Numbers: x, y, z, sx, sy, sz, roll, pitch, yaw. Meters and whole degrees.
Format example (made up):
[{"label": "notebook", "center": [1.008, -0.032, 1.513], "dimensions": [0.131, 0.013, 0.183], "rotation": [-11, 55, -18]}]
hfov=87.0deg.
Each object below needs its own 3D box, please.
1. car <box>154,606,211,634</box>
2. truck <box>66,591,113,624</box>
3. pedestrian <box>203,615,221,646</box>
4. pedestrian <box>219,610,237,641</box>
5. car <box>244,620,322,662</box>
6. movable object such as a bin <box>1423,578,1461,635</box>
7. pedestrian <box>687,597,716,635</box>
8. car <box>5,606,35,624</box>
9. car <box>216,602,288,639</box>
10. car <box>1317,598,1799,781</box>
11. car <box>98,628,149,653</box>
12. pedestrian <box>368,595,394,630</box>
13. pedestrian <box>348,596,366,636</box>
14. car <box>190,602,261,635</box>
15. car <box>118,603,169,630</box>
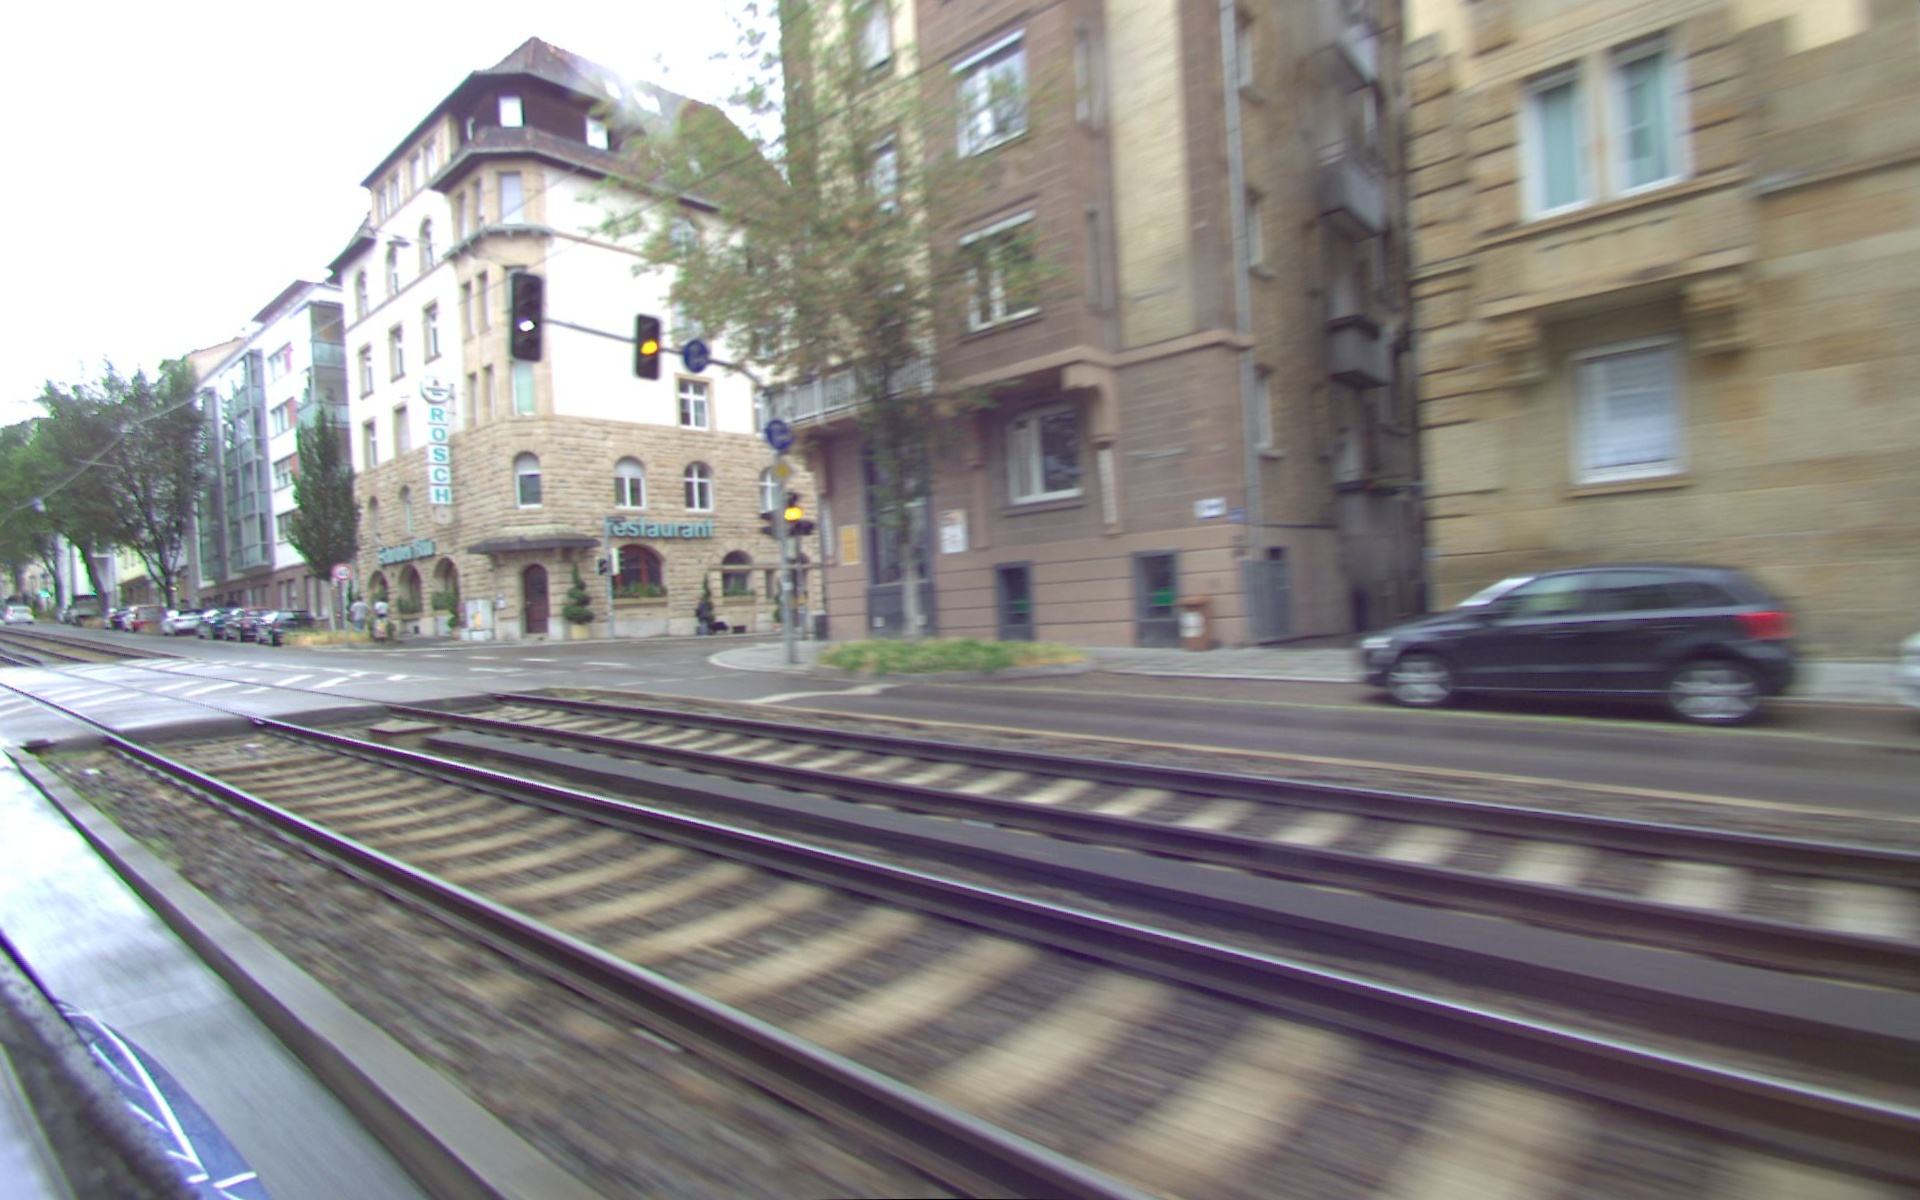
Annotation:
[{"label": "car", "center": [-41.575, 1.066, 54.118], "dimensions": [4.130, 1.345, 1.684], "rotation": [-1, 3, 43]}, {"label": "truck", "center": [-65.600, 0.522, 76.242], "dimensions": [6.355, 2.363, 2.167], "rotation": [0, 1, 44]}, {"label": "pedestrian", "center": [-43.570, 1.779, 58.960], "dimensions": [0.782, 1.785, 0.666], "rotation": [-1, 0, 43]}, {"label": "pedestrian", "center": [-43.071, 1.512, 59.531], "dimensions": [0.782, 1.785, 0.666], "rotation": [-1, 0, 43]}, {"label": "car", "center": [-27.857, 1.658, 41.583], "dimensions": [3.894, 1.564, 1.746], "rotation": [-2, 0, 42]}, {"label": "movable object such as a bin", "center": [11.458, 0.155, 24.044], "dimensions": [0.628, 1.306, 0.722], "rotation": [-2, 0, 40]}, {"label": "pedestrian", "center": [-9.852, 0.592, 38.507], "dimensions": [0.807, 1.426, 0.721], "rotation": [-1, 0, -45]}, {"label": "car", "center": [-79.170, 1.264, 85.236], "dimensions": [3.581, 1.493, 1.609], "rotation": [-1, 0, 43]}, {"label": "car", "center": [-31.464, 0.935, 44.949], "dimensions": [3.524, 1.509, 1.788], "rotation": [-2, 1, 41]}, {"label": "car", "center": [6.001, 0.774, 10.454], "dimensions": [4.000, 1.497, 1.746], "rotation": [-1, 0, 43]}, {"label": "car", "center": [-55.140, 2.640, 66.666], "dimensions": [4.467, 1.451, 1.886], "rotation": [-1, 0, 42]}, {"label": "pedestrian", "center": [-23.971, 0.529, 41.896], "dimensions": [0.645, 1.432, 0.746], "rotation": [-2, 0, 43]}, {"label": "pedestrian", "center": [-24.596, 0.644, 41.285], "dimensions": [0.644, 1.582, 0.511], "rotation": [-1, 0, 45]}, {"label": "car", "center": [-34.867, 0.872, 48.007], "dimensions": [4.429, 1.466, 1.782], "rotation": [-1, 1, 42]}, {"label": "car", "center": [-49.887, 1.012, 61.803], "dimensions": [4.157, 1.581, 1.758], "rotation": [-1, 0, 41]}]
